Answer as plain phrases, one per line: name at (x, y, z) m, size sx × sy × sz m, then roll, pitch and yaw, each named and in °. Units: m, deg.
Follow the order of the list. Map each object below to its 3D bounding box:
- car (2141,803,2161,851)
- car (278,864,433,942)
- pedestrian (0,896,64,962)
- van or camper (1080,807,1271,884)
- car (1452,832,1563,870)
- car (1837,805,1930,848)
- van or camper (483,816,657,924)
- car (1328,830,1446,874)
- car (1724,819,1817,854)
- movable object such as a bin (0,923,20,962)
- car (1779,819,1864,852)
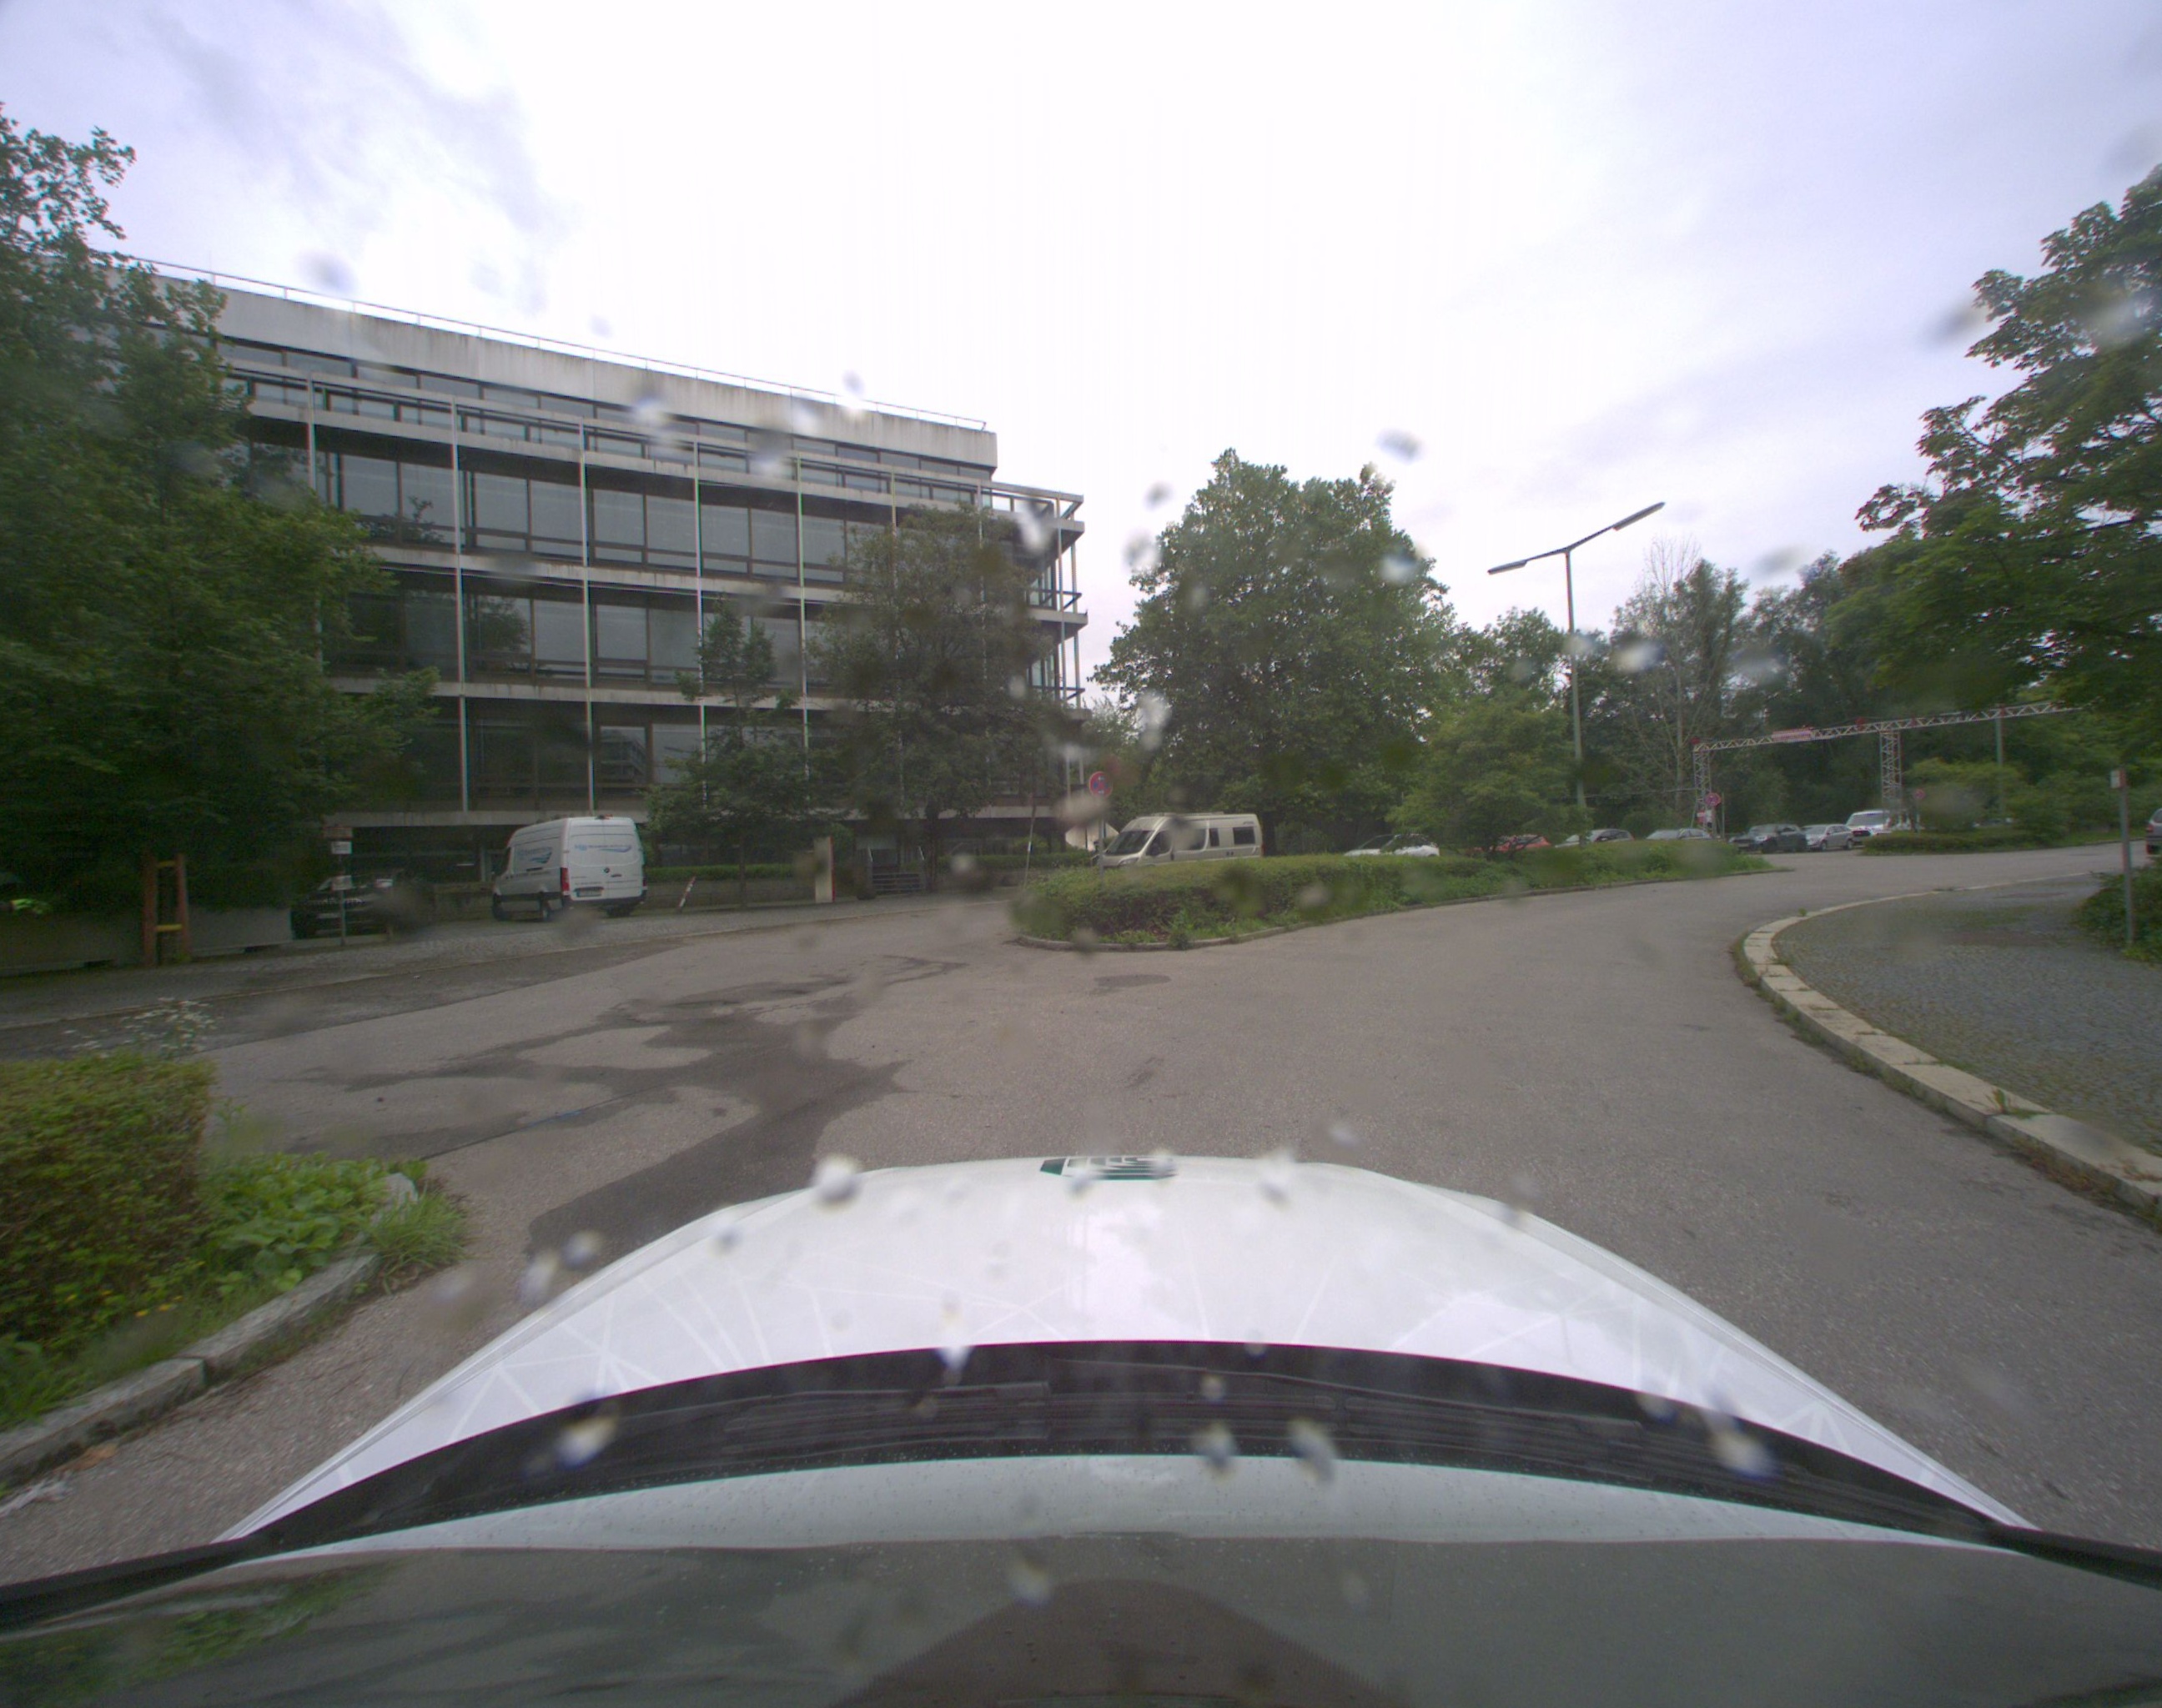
car at (38.636, -0.996, 28.128) m, size 4.008 × 1.611 × 1.719 m, roll -2°, pitch 0°, yaw -27°
car at (-18.590, 1.165, 21.120) m, size 1.952 × 1.721 × 4.201 m, roll -2°, pitch 0°, yaw -27°
pedestrian at (-21.575, 1.527, 16.568) m, size 0.929 × 1.278 × 0.538 m, roll -1°, pitch -1°, yaw -22°
van or camper at (3.235, -0.315, 26.763) m, size 6.449 × 2.281 × 2.229 m, roll -2°, pitch 0°, yaw -38°
car at (17.833, -0.114, 34.100) m, size 4.004 × 1.409 × 1.985 m, roll -2°, pitch 0°, yaw -23°
car at (45.419, -1.563, 46.083) m, size 4.879 × 2.227 × 2.188 m, roll -2°, pitch 0°, yaw -25°
van or camper at (-14.106, 0.539, 22.252) m, size 6.454 × 2.580 × 2.176 m, roll -4°, pitch -2°, yaw 41°
car at (11.911, -0.091, 31.720) m, size 4.004 × 1.508 × 1.985 m, roll -2°, pitch 0°, yaw -23°
car at (35.296, -0.900, 41.714) m, size 4.004 × 1.574 × 1.985 m, roll -2°, pitch 0°, yaw -23°
movable object such as a bin at (-22.074, 1.790, 16.300) m, size 0.837 × 0.753 × 0.568 m, roll -2°, pitch 0°, yaw -21°
car at (39.867, -0.991, 43.862) m, size 4.007 × 1.574 × 1.983 m, roll -2°, pitch 0°, yaw -25°
